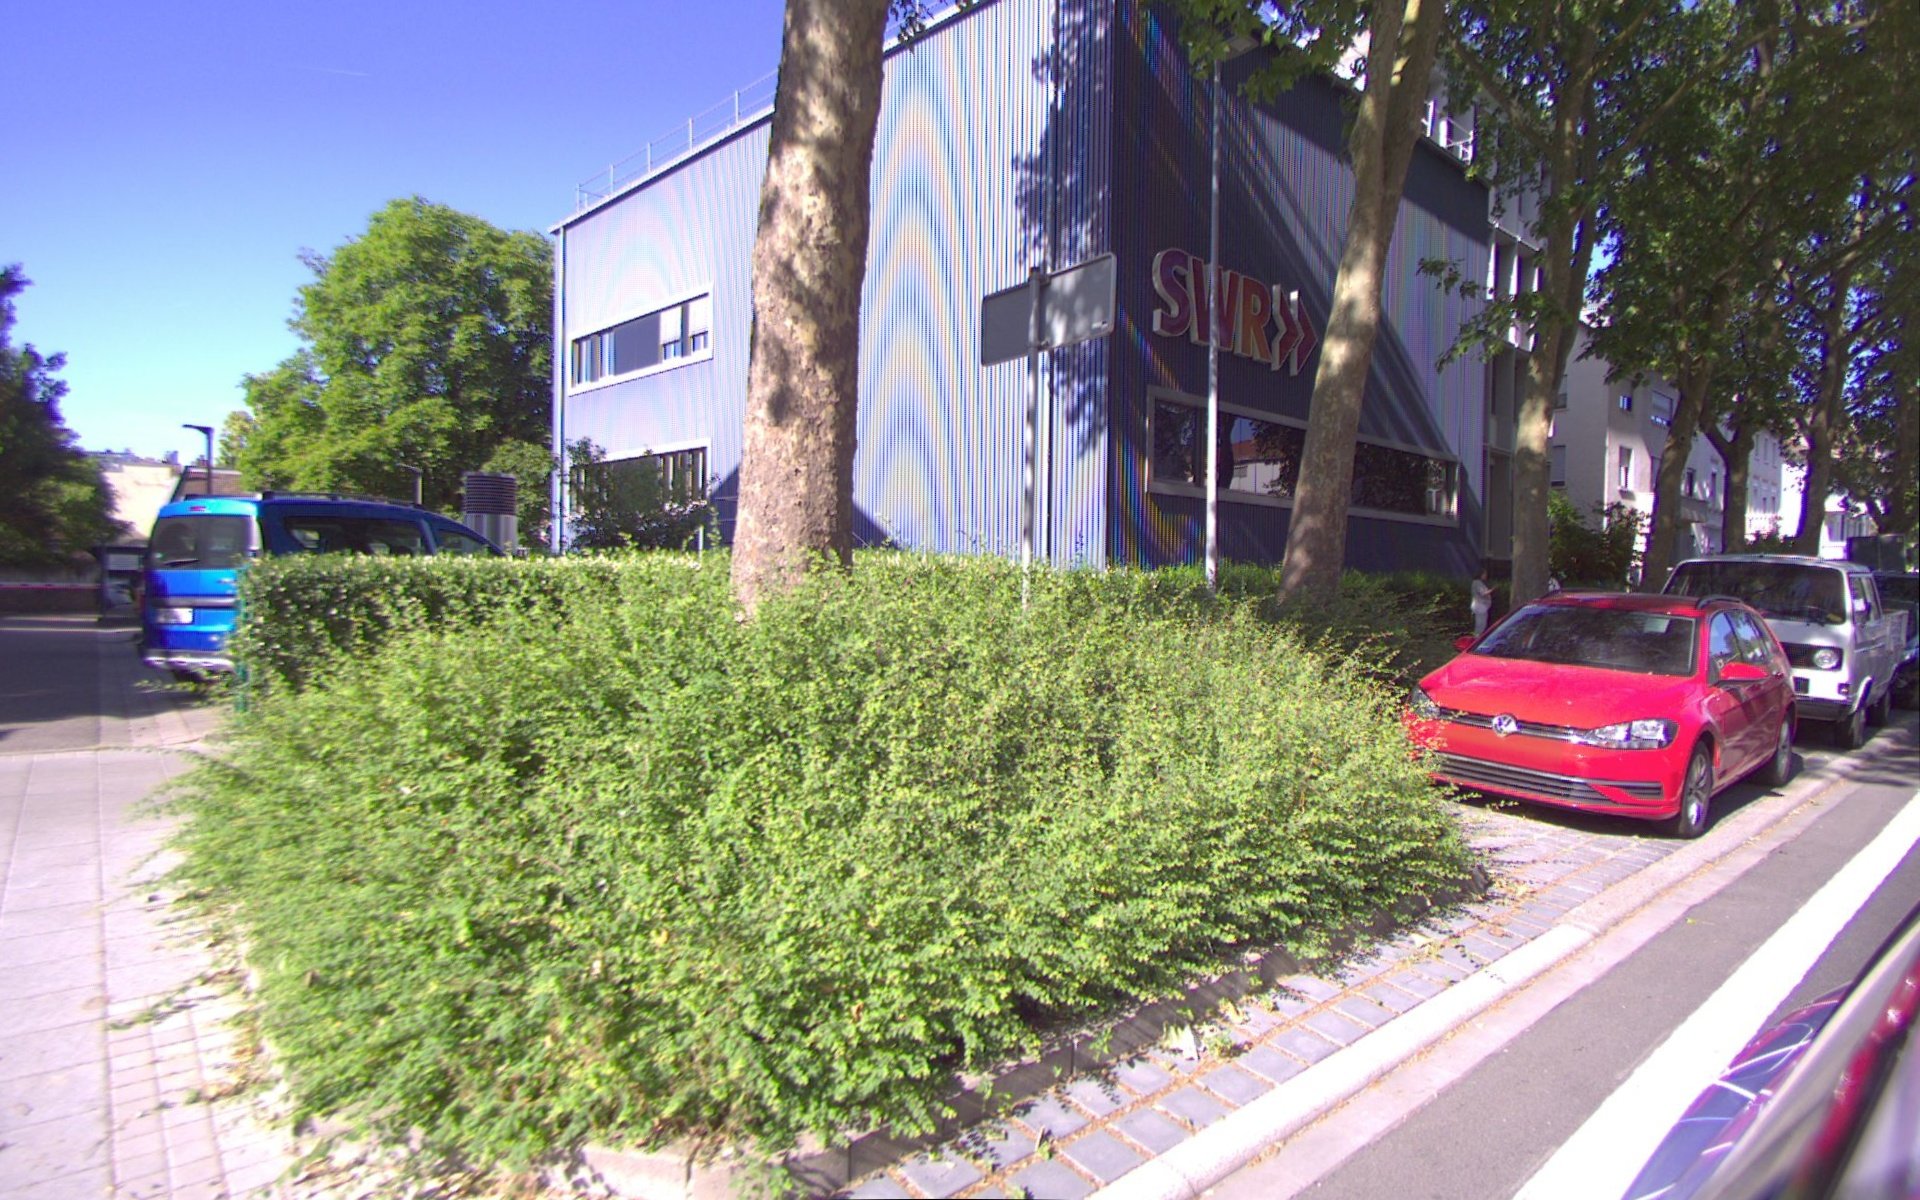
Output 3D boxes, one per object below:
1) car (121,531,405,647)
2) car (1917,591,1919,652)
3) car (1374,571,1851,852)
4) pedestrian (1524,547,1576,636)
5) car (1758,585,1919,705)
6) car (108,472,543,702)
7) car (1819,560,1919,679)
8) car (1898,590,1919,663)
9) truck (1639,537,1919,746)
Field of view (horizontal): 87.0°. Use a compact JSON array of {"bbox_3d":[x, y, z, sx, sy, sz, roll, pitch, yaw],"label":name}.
[{"bbox_3d":[-11.083,-0.259,16.422,1.828,1.651,3.538,1,3,11],"label":"car"},{"bbox_3d":[26.178,0.550,26.116,4.177,1.527,1.766,0,1,-41],"label":"car"},{"bbox_3d":[5.210,0.577,7.797,4.595,1.526,1.825,-1,2,-41],"label":"car"},{"bbox_3d":[11.424,-0.144,19.596,0.663,1.671,0.706,4,-4,-43],"label":"pedestrian"},{"bbox_3d":[13.322,0.547,14.805,4.028,1.495,1.752,0,2,-39],"label":"car"},{"bbox_3d":[-6.070,-0.119,10.172,1.686,1.877,3.490,0,0,16],"label":"car"},{"bbox_3d":[17.543,0.297,18.560,5.182,1.971,2.029,0,1,-42],"label":"car"},{"bbox_3d":[22.554,0.561,22.808,4.057,1.559,1.660,0,0,-41],"label":"car"},{"bbox_3d":[9.405,0.322,11.335,4.376,1.904,1.880,-1,2,-41],"label":"truck"}]
